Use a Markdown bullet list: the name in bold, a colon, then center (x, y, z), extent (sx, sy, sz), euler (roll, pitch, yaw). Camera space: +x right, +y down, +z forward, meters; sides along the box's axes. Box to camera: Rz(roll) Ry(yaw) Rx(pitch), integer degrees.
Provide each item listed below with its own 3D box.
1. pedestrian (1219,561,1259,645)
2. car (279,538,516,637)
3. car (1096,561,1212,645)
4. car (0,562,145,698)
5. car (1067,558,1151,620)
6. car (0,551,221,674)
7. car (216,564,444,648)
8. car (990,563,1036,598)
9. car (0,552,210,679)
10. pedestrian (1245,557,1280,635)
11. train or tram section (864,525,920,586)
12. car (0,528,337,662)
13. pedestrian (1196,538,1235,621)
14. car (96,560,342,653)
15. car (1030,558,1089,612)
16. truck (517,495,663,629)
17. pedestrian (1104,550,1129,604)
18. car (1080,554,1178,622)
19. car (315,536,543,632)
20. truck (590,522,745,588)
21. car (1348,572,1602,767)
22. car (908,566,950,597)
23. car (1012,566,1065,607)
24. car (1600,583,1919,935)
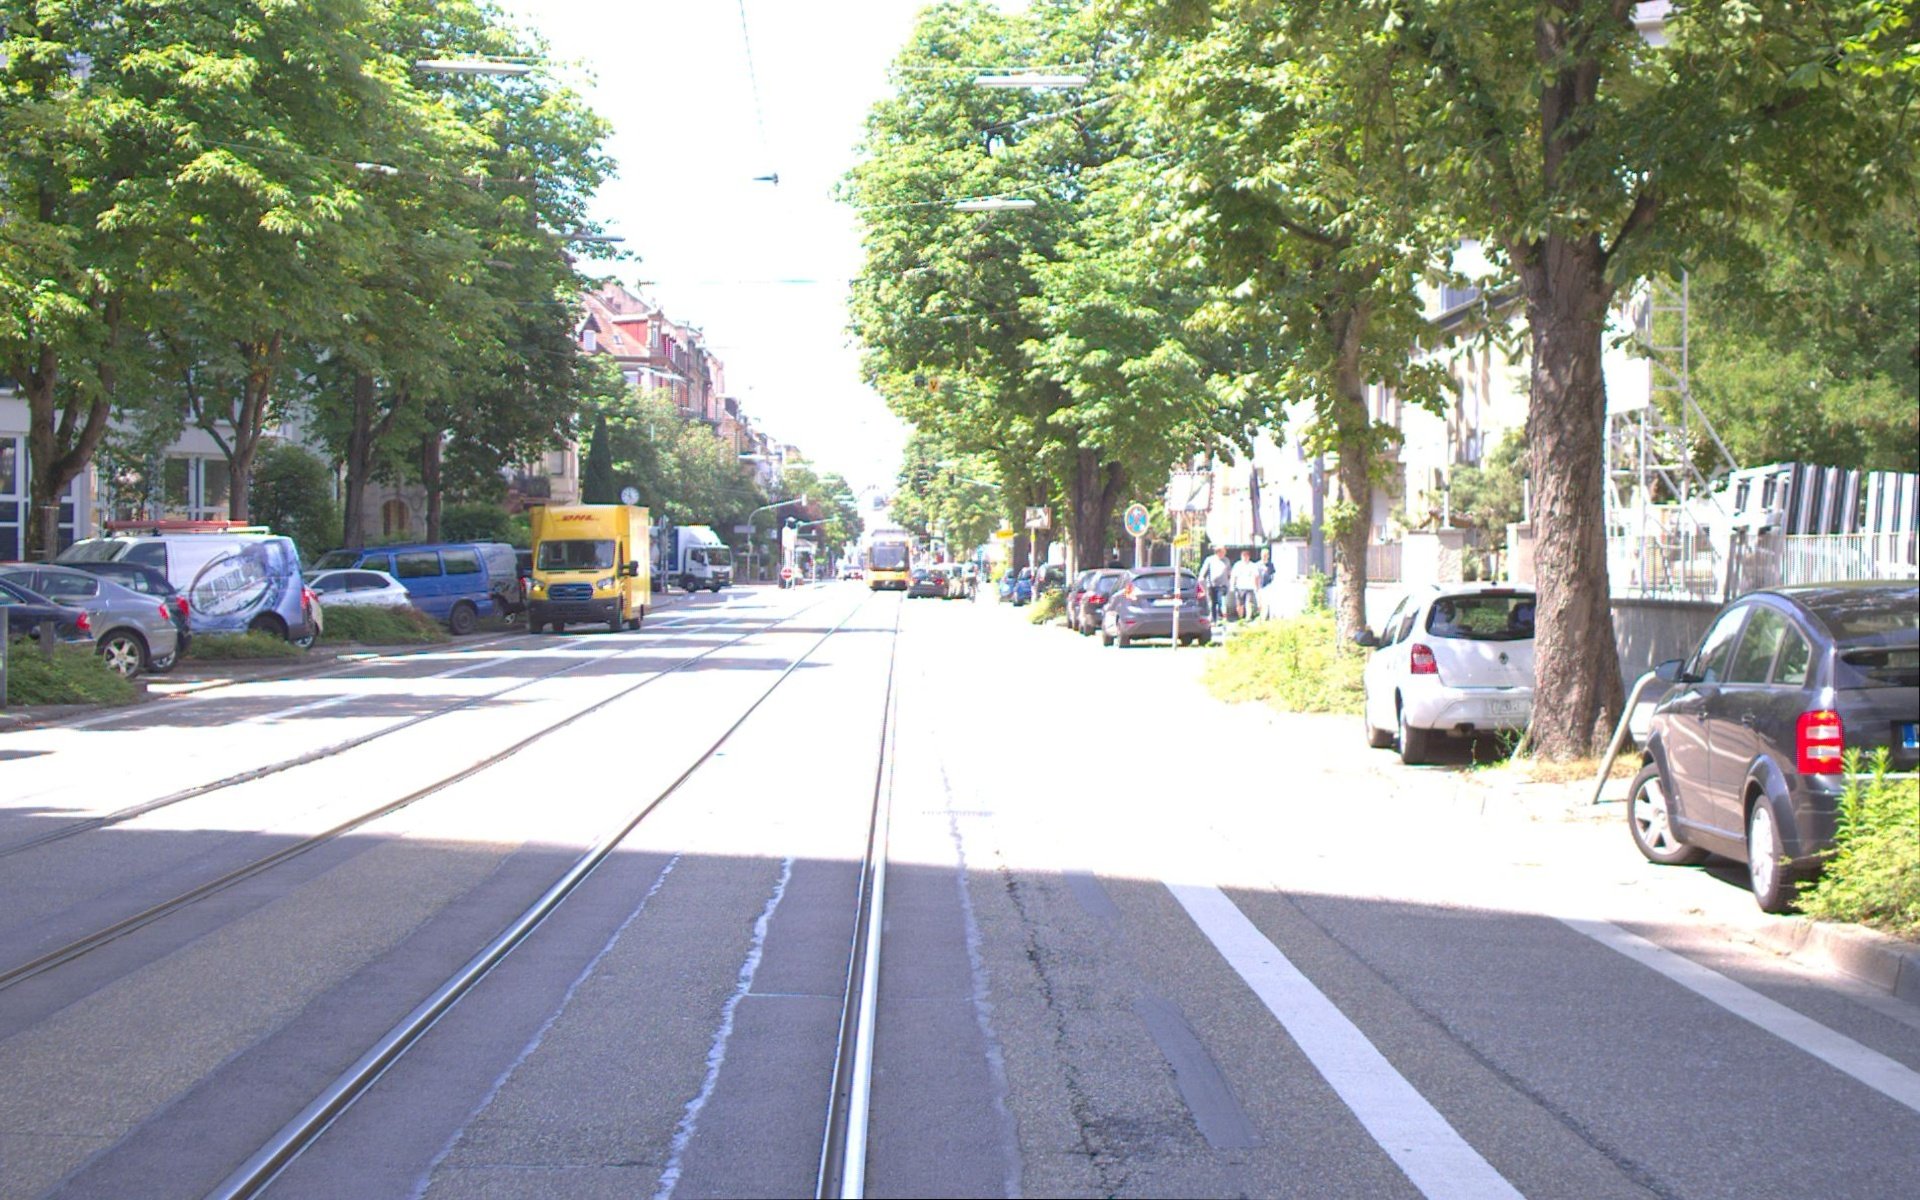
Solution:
- **pedestrian**: center (6.193, 0.065, 76.233), extent (0.725, 1.853, 0.576), euler (0, 1, 25)
- **car**: center (-11.766, -0.284, 72.152), extent (1.846, 1.949, 4.719), euler (0, 1, 44)
- **car**: center (3.533, 0.042, 63.061), extent (1.638, 1.480, 3.873), euler (0, 0, -4)
- **car**: center (-11.333, 0.345, 39.011), extent (1.761, 1.502, 3.700), euler (0, 1, 42)
- **car**: center (3.531, -0.266, 82.002), extent (1.710, 1.418, 4.244), euler (0, 0, -1)
- **car**: center (-11.843, 0.148, 45.529), extent (1.691, 1.538, 3.700), euler (0, 1, 44)
- **car**: center (-12.007, 0.096, 65.669), extent (1.761, 1.428, 3.991), euler (-2, 0, 41)
- **car**: center (2.186, -0.806, 141.675), extent (1.710, 1.418, 4.310), euler (0, 0, -1)
- **car**: center (-11.591, 0.188, 42.384), extent (4.192, 1.502, 1.873), euler (-1, 1, -42)
- **pedestrian**: center (6.823, -0.088, 77.492), extent (0.619, 1.731, 0.477), euler (-1, 0, 27)
- **train or tram section**: center (-3.892, -2.553, 198.374), extent (3.035, 3.427, 11.971), euler (0, 1, 0)
- **car**: center (-11.995, -0.100, 52.281), extent (1.920, 1.928, 4.745), euler (-1, 1, 42)
- **pedestrian**: center (5.768, -0.462, 77.590), extent (0.809, 1.853, 0.576), euler (0, 0, 11)
- **car**: center (-12.517, 0.101, 58.183), extent (1.761, 1.462, 3.700), euler (-1, 1, 44)
- **car**: center (2.996, -0.447, 104.206), extent (1.592, 1.611, 3.908), euler (0, 0, -1)
- **truck**: center (-8.242, -0.866, 77.276), extent (2.360, 2.843, 7.378), euler (-1, 1, 1)
- **pedestrian**: center (5.410, -0.787, 118.617), extent (0.808, 1.853, 0.623), euler (0, -1, -2)
- **car**: center (3.685, -0.261, 75.607), extent (1.876, 1.450, 4.528), euler (0, 0, 0)
- **car**: center (-12.083, -0.379, 78.416), extent (4.749, 2.055, 2.026), euler (-2, 1, -40)
- **truck**: center (-16.083, -2.482, 188.572), extent (8.440, 3.538, 2.944), euler (1, 1, 33)
- **car**: center (4.357, 0.543, 29.559), extent (1.644, 1.529, 3.785), euler (0, 1, 1)
- **car**: center (-1.350, -0.808, 149.488), extent (1.781, 1.341, 3.416), euler (0, 1, -1)
- **car**: center (2.796, -0.490, 123.440), extent (1.710, 1.418, 4.310), euler (0, 0, -1)
- **car**: center (4.490, 0.710, 17.458), extent (1.644, 1.529, 3.947), euler (0, 1, -1)
